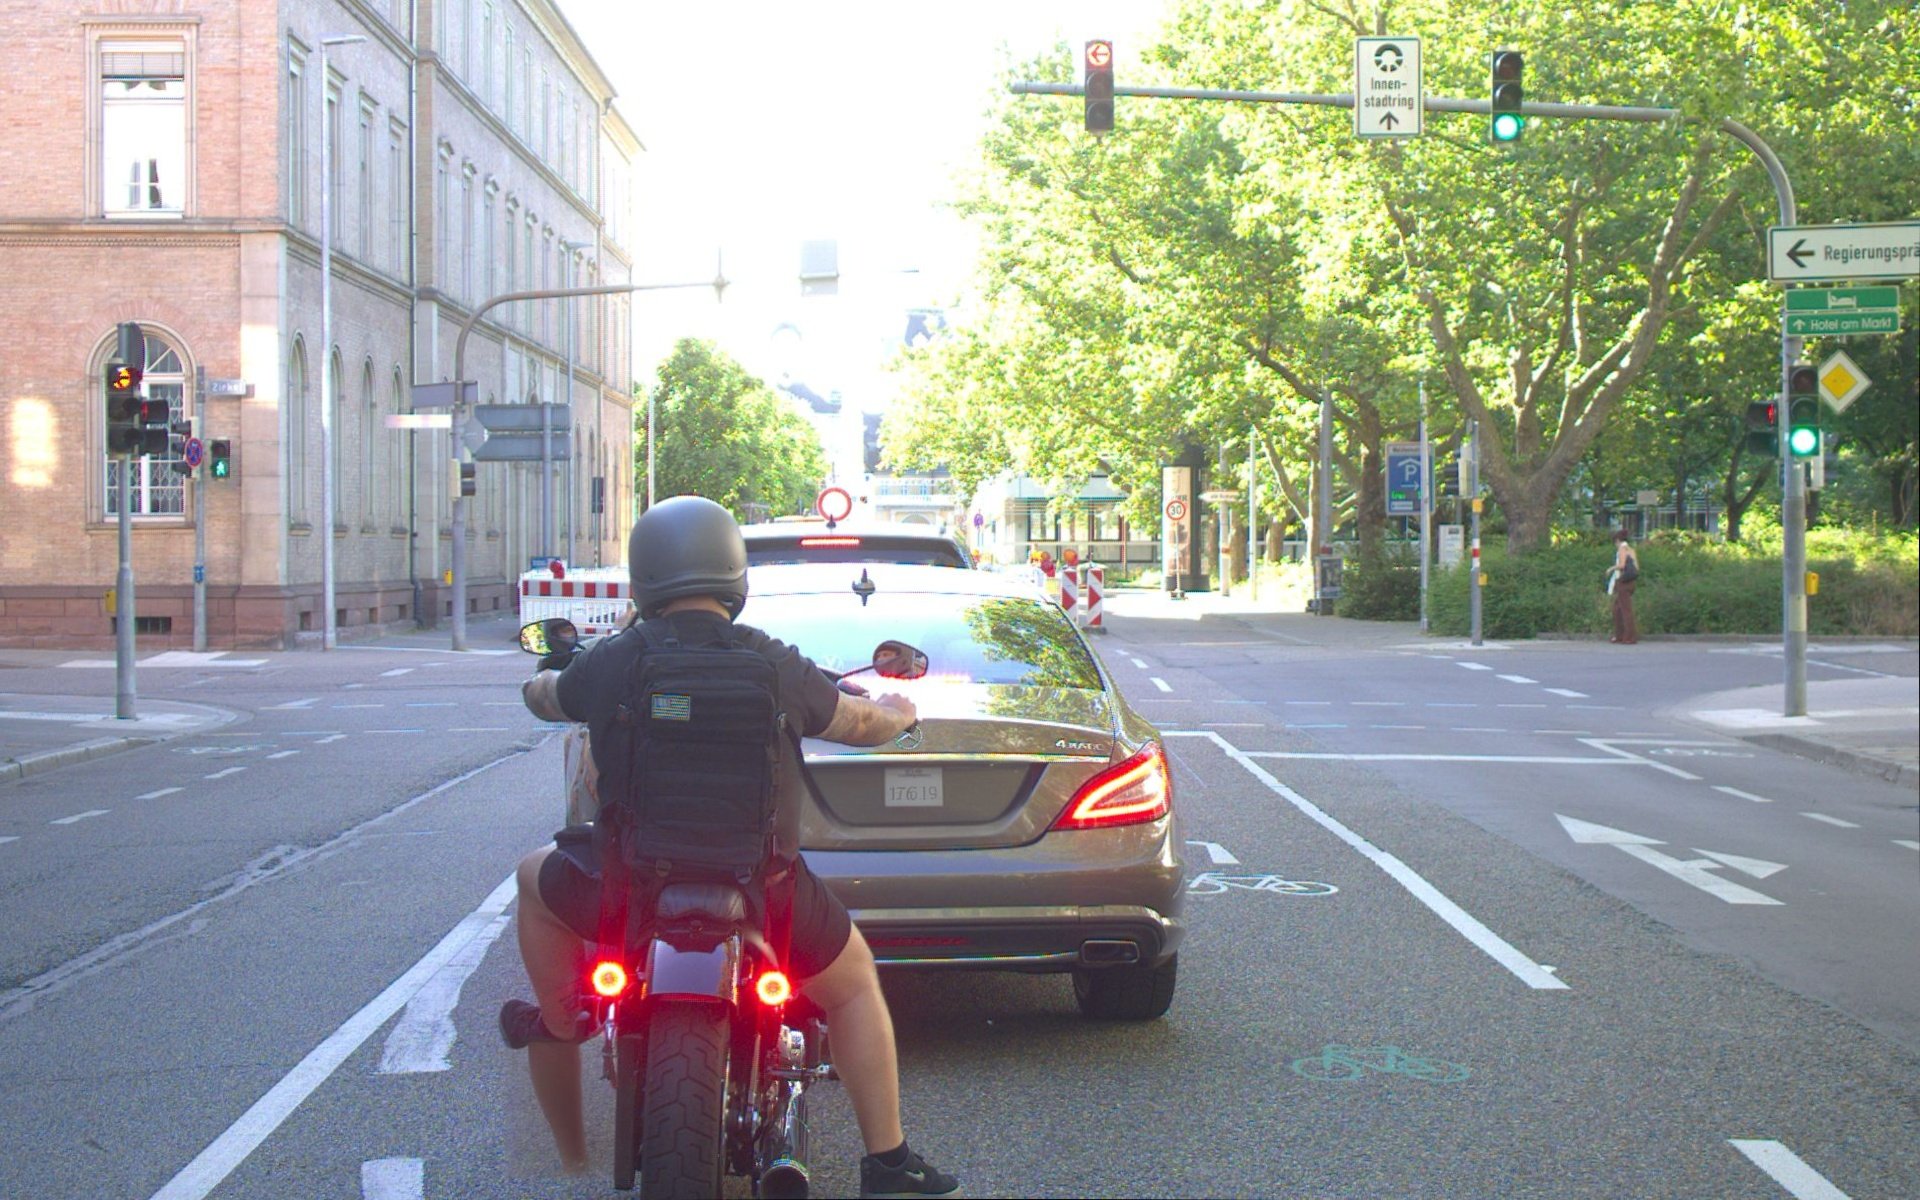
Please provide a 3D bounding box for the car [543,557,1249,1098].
[{"bbox_3d":[-0.428,0.588,11.632,1.869,1.439,4.431,0,1,-8],"label":"car"}]

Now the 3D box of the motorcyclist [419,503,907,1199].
[{"bbox_3d":[-0.610,0.578,7.582,0.980,1.573,1.248,0,1,-1],"label":"motorcyclist"}]

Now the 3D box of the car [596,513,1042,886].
[{"bbox_3d":[-0.661,0.430,17.554,1.993,1.660,4.000,1,1,-1],"label":"car"}]

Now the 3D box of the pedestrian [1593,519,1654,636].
[{"bbox_3d":[10.129,-0.339,52.456,0.679,1.766,0.615,1,1,40],"label":"pedestrian"}]

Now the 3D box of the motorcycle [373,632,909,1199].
[{"bbox_3d":[-0.608,0.740,7.574,0.980,1.271,2.407,0,1,-1],"label":"motorcycle"}]
